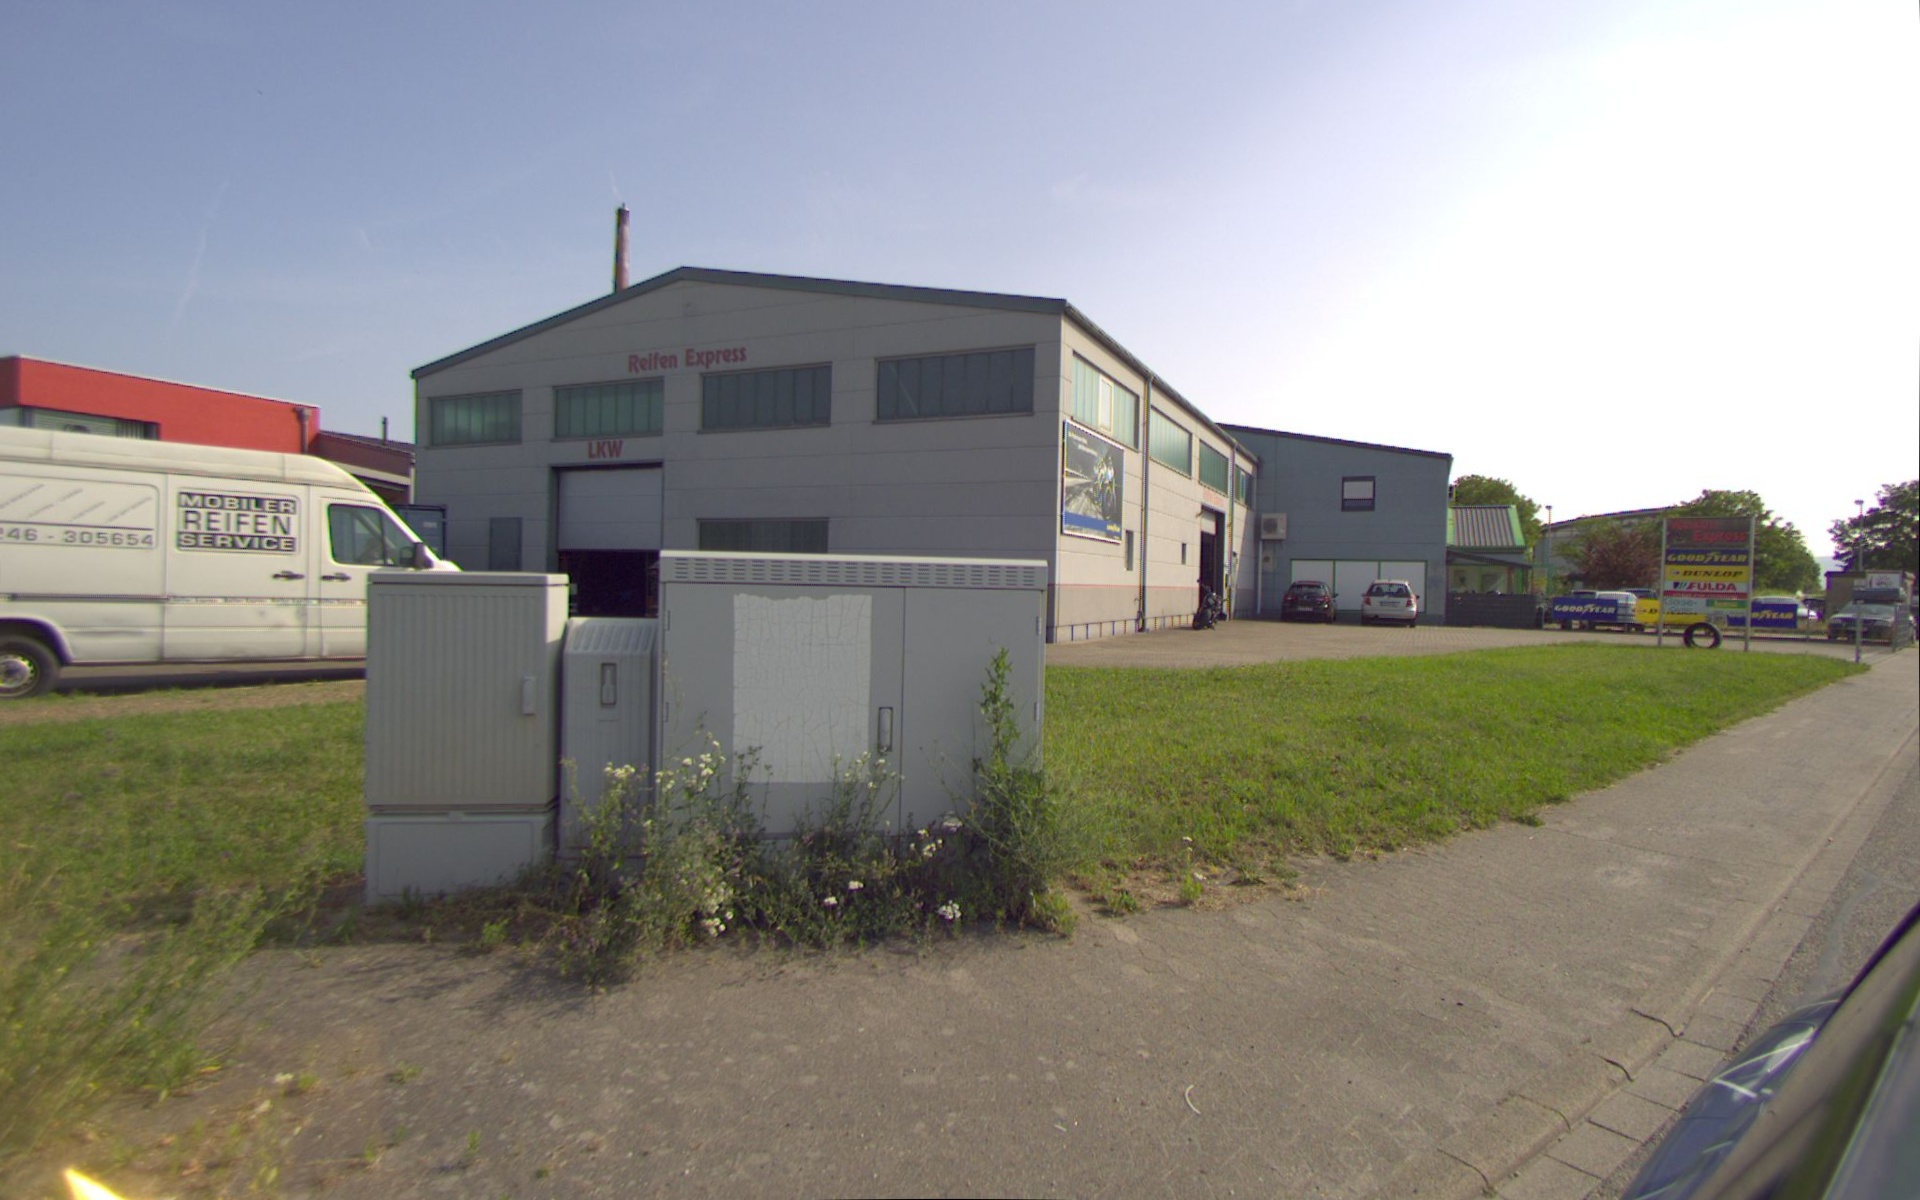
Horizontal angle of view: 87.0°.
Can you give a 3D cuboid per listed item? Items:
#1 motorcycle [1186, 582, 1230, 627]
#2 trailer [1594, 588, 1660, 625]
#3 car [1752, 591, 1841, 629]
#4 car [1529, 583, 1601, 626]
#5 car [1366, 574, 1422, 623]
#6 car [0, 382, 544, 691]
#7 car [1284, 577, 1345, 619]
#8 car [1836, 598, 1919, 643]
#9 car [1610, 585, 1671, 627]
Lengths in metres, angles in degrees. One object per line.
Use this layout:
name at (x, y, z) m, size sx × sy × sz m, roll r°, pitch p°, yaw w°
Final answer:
motorcycle at (6.562, 0.103, 26.694) m, size 0.794 × 1.108 × 2.185 m, roll 1°, pitch 1°, yaw 23°
trailer at (23.834, 0.229, 36.240) m, size 1.478 × 1.264 × 2.953 m, roll 0°, pitch 0°, yaw 24°
car at (35.189, 0.375, 42.689) m, size 1.674 × 1.484 × 4.229 m, roll 1°, pitch 1°, yaw 23°
car at (22.441, 0.121, 37.673) m, size 1.626 × 1.484 × 4.427 m, roll 1°, pitch 1°, yaw 23°
car at (15.213, -0.076, 35.378) m, size 1.623 × 1.587 × 3.772 m, roll 1°, pitch 1°, yaw 26°
car at (-7.810, -0.590, 10.959) m, size 5.778 × 2.739 × 1.978 m, roll 0°, pitch 1°, yaw -41°
car at (12.784, -0.098, 36.358) m, size 1.665 × 1.420 × 3.679 m, roll 1°, pitch 1°, yaw 26°
car at (30.767, 0.643, 33.653) m, size 4.313 × 1.386 × 1.678 m, roll 0°, pitch 1°, yaw -38°
car at (30.267, 0.232, 45.121) m, size 1.625 × 1.741 × 3.189 m, roll 1°, pitch 1°, yaw 23°
